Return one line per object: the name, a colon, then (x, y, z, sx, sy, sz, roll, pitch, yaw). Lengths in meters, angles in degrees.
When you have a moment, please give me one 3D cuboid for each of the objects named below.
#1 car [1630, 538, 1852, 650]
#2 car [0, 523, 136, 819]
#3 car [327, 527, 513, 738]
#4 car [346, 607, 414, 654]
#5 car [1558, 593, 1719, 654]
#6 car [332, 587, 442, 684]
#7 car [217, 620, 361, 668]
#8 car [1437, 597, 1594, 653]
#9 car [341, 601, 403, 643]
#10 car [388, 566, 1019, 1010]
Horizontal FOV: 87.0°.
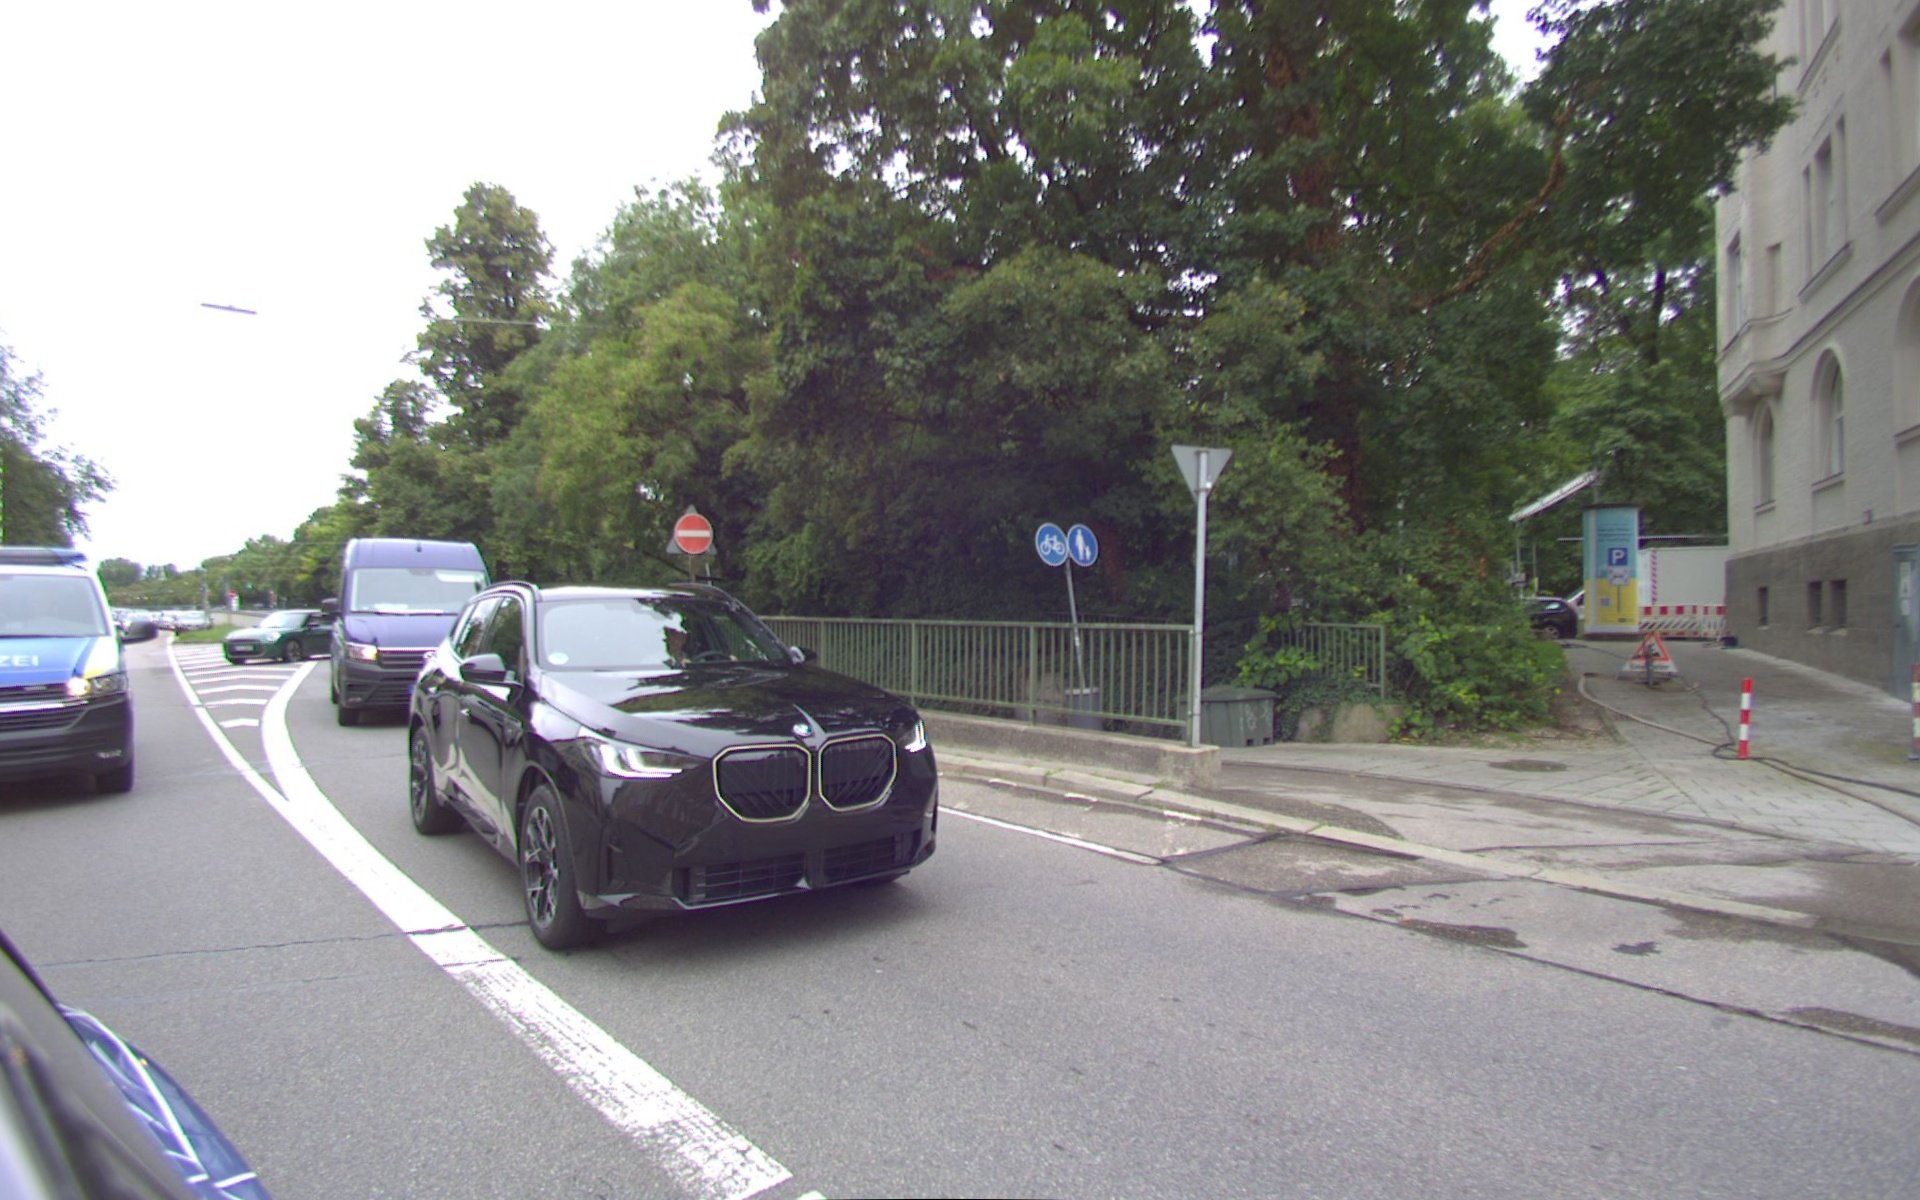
car: (23.575, -0.130, 30.851, 4.771, 3.198, 2.467, 0, -1, 22)
car: (-8.827, 0.561, 9.263, 1.800, 2.115, 5.641, 0, -1, -41)
car: (-8.303, 0.390, 15.194, 1.973, 2.510, 6.250, 0, 0, -33)
car: (-21.953, 1.105, 38.238, 2.070, 1.602, 5.584, -2, 0, -31)
car: (22.908, 0.794, 34.377, 4.187, 1.961, 1.834, 0, -1, 22)
car: (-13.535, 0.758, 23.825, 1.974, 1.951, 5.822, -2, 0, -31)
car: (-18.898, 1.206, 28.683, 1.478, 1.223, 3.605, -1, 0, 6)
car: (17.777, 0.795, 32.607, 4.187, 1.615, 1.649, -2, 1, 22)
car: (-26.867, 0.971, 46.233, 2.278, 1.742, 5.230, -2, 0, -31)
car: (-1.811, 0.692, 5.878, 1.892, 1.577, 4.301, 1, -1, -40)
